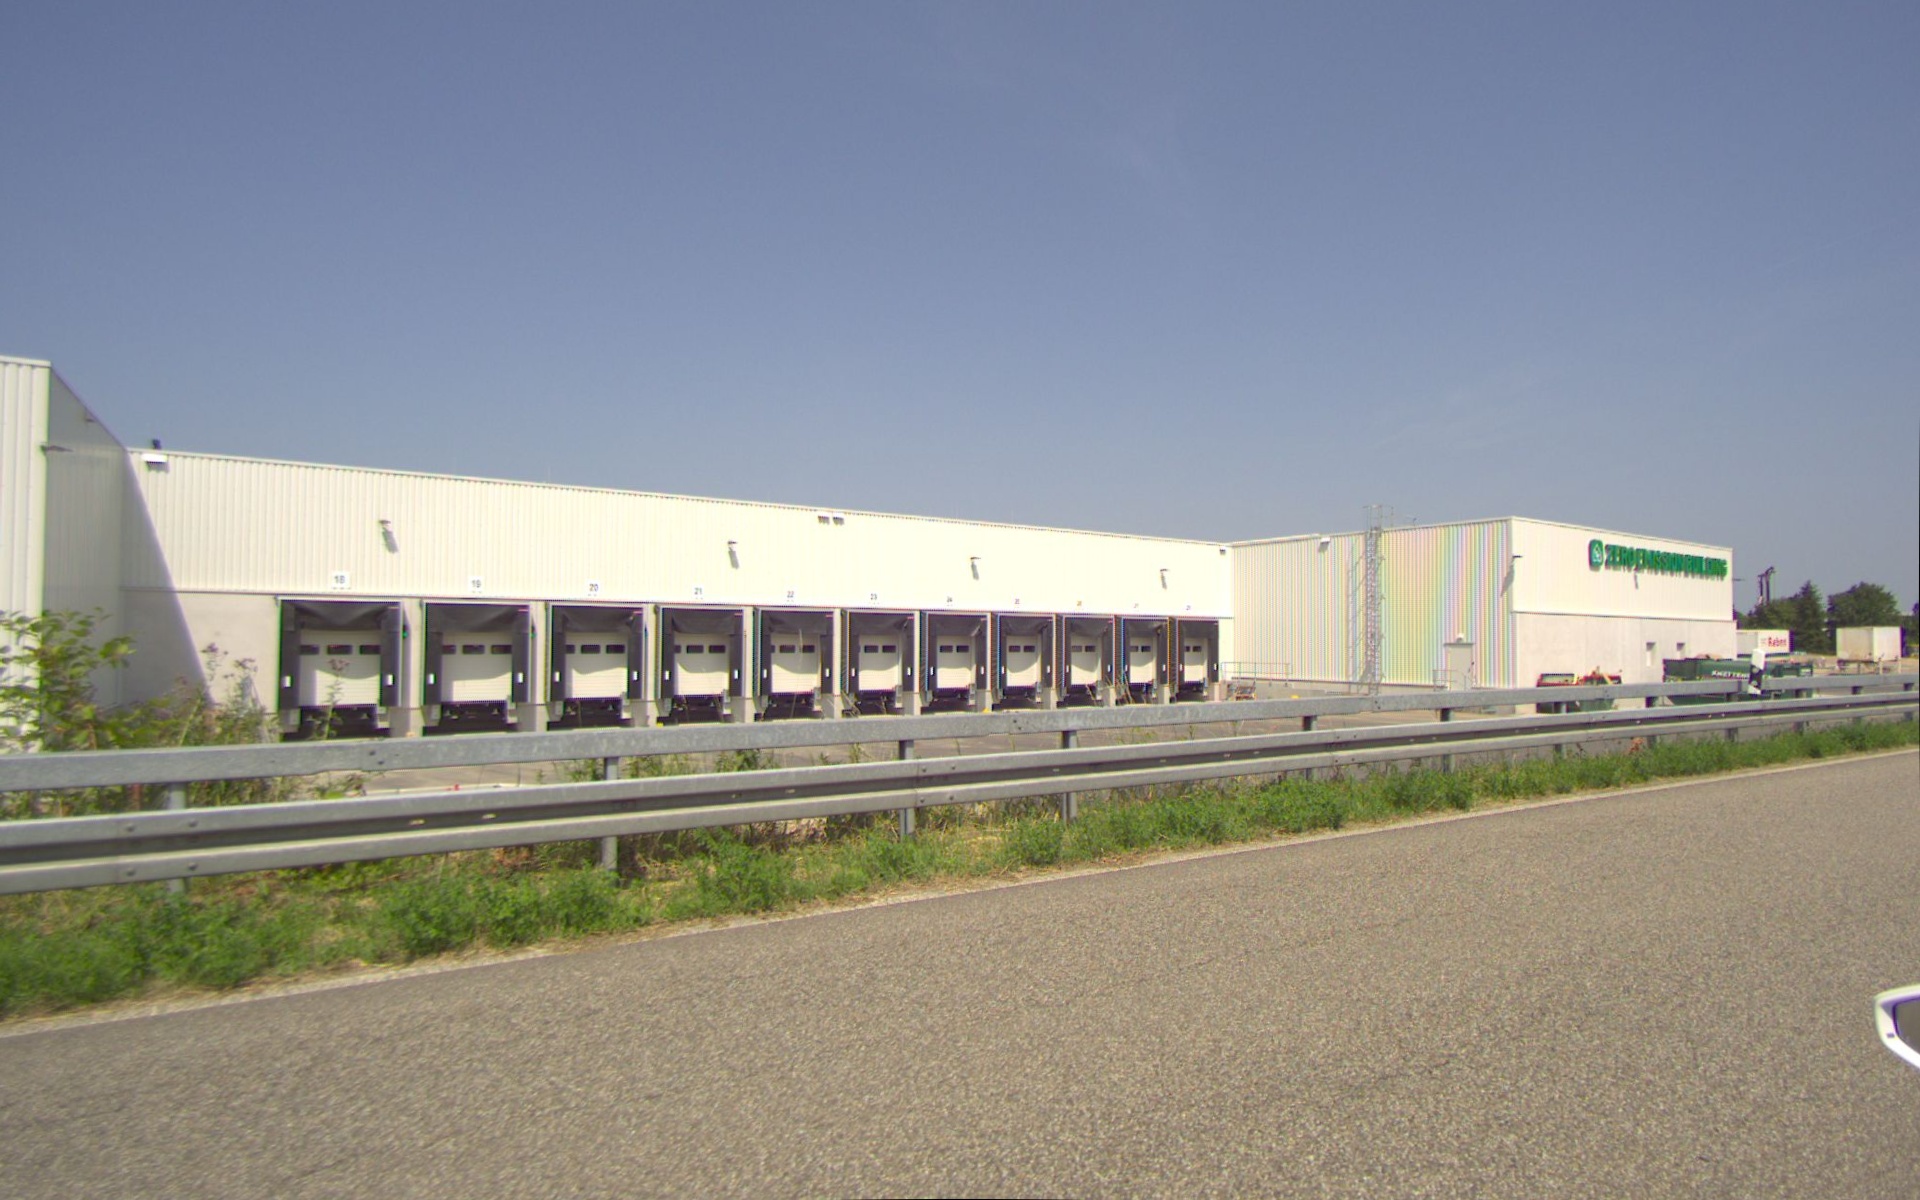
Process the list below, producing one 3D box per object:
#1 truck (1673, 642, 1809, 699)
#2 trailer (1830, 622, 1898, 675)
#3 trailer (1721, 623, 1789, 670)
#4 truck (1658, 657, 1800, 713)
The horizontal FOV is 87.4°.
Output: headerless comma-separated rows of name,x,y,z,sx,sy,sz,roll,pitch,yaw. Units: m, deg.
truck,39.559,3.497,50.991,2.250,2.571,5.013,2,-1,-34
trailer,79.199,4.168,87.933,7.871,4.390,2.662,1,-1,-35
trailer,75.279,4.305,95.047,7.814,4.203,2.728,1,-1,-33
truck,37.023,4.032,48.506,2.206,2.364,4.986,1,-1,-29
